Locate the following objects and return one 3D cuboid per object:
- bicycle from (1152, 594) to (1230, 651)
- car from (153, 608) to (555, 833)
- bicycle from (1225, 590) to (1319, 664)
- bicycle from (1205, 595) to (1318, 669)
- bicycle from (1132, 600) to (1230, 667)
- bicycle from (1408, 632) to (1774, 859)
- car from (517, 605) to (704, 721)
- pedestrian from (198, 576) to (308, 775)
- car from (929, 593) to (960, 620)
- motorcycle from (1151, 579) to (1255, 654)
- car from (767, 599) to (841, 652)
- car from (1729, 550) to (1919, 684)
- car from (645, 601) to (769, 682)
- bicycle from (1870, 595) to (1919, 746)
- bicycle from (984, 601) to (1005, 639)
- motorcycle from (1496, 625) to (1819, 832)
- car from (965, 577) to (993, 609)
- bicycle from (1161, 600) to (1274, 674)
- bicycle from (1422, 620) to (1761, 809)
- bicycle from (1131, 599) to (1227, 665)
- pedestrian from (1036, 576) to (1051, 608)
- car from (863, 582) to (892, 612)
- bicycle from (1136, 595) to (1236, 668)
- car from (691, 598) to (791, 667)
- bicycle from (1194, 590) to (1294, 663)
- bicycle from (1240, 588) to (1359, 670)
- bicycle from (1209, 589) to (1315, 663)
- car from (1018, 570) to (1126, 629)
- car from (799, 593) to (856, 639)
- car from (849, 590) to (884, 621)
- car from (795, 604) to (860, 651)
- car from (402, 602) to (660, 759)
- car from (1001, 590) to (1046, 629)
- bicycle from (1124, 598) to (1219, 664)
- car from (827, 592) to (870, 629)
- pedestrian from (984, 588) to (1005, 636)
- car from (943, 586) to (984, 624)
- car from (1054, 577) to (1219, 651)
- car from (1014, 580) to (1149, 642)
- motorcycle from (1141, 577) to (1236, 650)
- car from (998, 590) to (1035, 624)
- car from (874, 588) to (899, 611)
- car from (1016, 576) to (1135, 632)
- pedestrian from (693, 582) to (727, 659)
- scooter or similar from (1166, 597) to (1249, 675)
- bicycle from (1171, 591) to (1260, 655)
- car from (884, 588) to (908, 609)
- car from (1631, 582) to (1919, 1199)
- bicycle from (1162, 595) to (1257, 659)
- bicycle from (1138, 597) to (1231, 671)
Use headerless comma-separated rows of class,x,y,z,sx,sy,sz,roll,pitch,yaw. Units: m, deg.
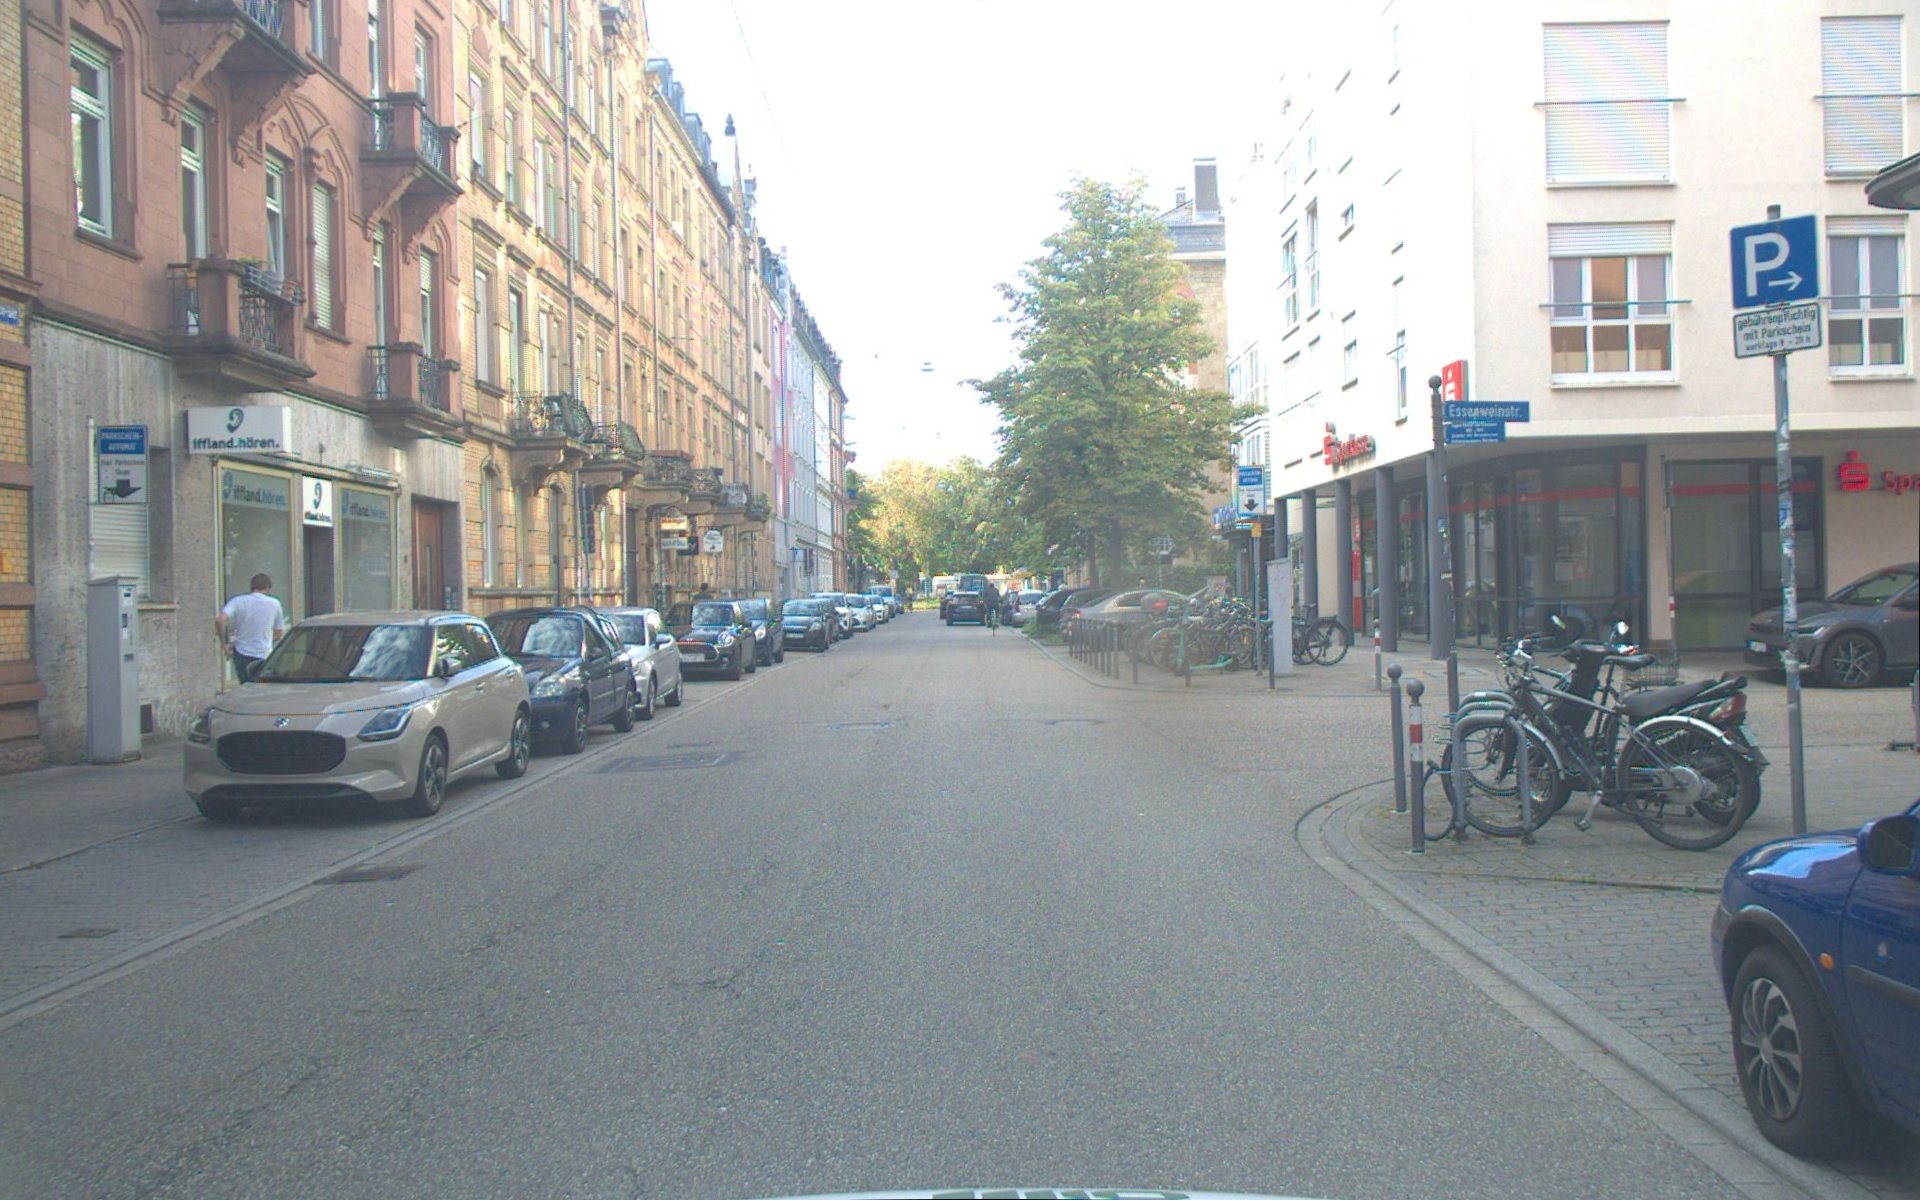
bicycle,5.204,0.502,37.329,1.630,1.179,0.557,-4,1,1
car,-4.655,0.841,13.364,1.705,1.509,3.984,0,0,1
bicycle,5.378,0.456,28.539,1.465,1.166,0.411,-4,1,0
bicycle,5.046,0.527,27.755,1.729,1.106,0.650,-4,1,2
bicycle,4.141,0.623,31.008,1.729,1.118,0.411,-4,1,3
bicycle,3.475,0.771,9.205,1.739,1.114,0.680,-3,0,43
car,-4.649,0.795,22.519,1.655,1.411,3.868,0,0,1
pedestrian,-6.688,0.693,15.677,0.717,1.821,0.771,2,0,-7
car,-0.904,0.376,95.326,1.760,1.497,3.887,0,1,-1
motorcycle,5.267,0.348,35.984,2.105,1.459,0.766,-4,1,4
car,-4.462,0.717,47.816,1.655,1.393,3.867,2,0,1
car,12.977,0.172,22.402,4.272,1.658,1.808,-2,2,1
car,-4.707,0.732,31.257,1.655,1.411,3.868,0,0,1
bicycle,8.012,0.556,12.885,0.524,1.212,1.930,-1,-1,-8
bicycle,1.220,0.682,58.588,0.703,1.296,1.884,0,0,1
motorcycle,4.135,0.742,9.888,1.636,1.114,0.604,-3,0,43
car,1.236,-0.477,108.753,1.746,2.055,3.887,0,1,-1
bicycle,4.221,0.605,27.109,1.731,1.075,0.411,-4,1,-5
bicycle,4.094,0.724,10.830,1.929,1.114,0.686,-3,-1,43
bicycle,4.200,0.615,31.752,1.729,1.138,0.411,-4,1,3
pedestrian,5.908,-0.588,116.982,0.975,2.269,0.899,0,0,1
car,-5.139,-0.183,103.471,1.655,1.853,3.866,0,0,-1
bicycle,4.052,0.552,29.644,1.740,1.166,0.409,-4,1,-21
car,-4.874,0.689,37.290,1.655,1.462,3.868,0,0,1
bicycle,5.080,0.470,29.580,1.740,1.166,0.409,-4,1,-21
bicycle,5.471,0.458,26.709,1.729,1.182,0.650,-4,1,2
bicycle,5.299,0.457,29.078,1.732,1.166,0.411,-4,1,-6
car,4.228,-0.031,62.254,3.904,1.712,1.740,-4,8,4
car,-4.774,0.564,60.092,1.655,1.577,3.867,0,0,1
car,-4.908,0.280,87.071,1.655,1.577,3.866,0,0,-1
car,-4.265,0.876,53.781,1.655,1.393,3.867,2,0,1
car,-4.548,0.790,18.121,1.705,1.509,3.984,0,0,1
car,2.820,0.399,74.252,1.891,1.666,4.000,0,1,0
bicycle,4.170,0.605,32.686,1.757,1.179,0.500,-4,1,3
car,-4.822,0.440,71.885,1.655,1.577,3.866,0,0,-1
pedestrian,1.220,0.419,58.692,0.703,1.679,0.930,0,0,1
car,0.164,0.270,79.995,1.924,1.771,4.041,0,-1,0
car,4.370,0.356,41.270,3.693,1.573,1.726,-4,-1,-11
car,3.664,0.315,49.794,3.903,1.611,2.001,-4,0,5
motorcycle,5.382,0.318,39.015,2.105,1.557,0.686,-4,1,4
car,2.662,0.343,78.697,1.655,1.577,3.688,0,0,1
car,-5.231,-0.052,118.636,1.655,1.577,3.866,0,0,-1
car,3.990,0.121,56.907,3.903,1.668,2.001,-4,0,5
pedestrian,-6.266,0.501,41.470,0.675,1.885,0.931,0,0,1
scooter or similar,3.963,0.579,26.496,1.183,1.167,0.378,-4,1,32
bicycle,5.246,0.474,33.973,1.696,1.179,0.500,-4,1,1
car,-4.970,-0.121,128.379,1.554,1.566,3.754,0,1,2
car,2.987,0.702,3.448,1.563,1.464,4.031,-2,1,1
bicycle,4.988,0.539,33.095,1.759,1.179,0.500,-3,1,26
bicycle,3.855,0.576,28.477,1.466,1.166,0.411,-4,1,-5
